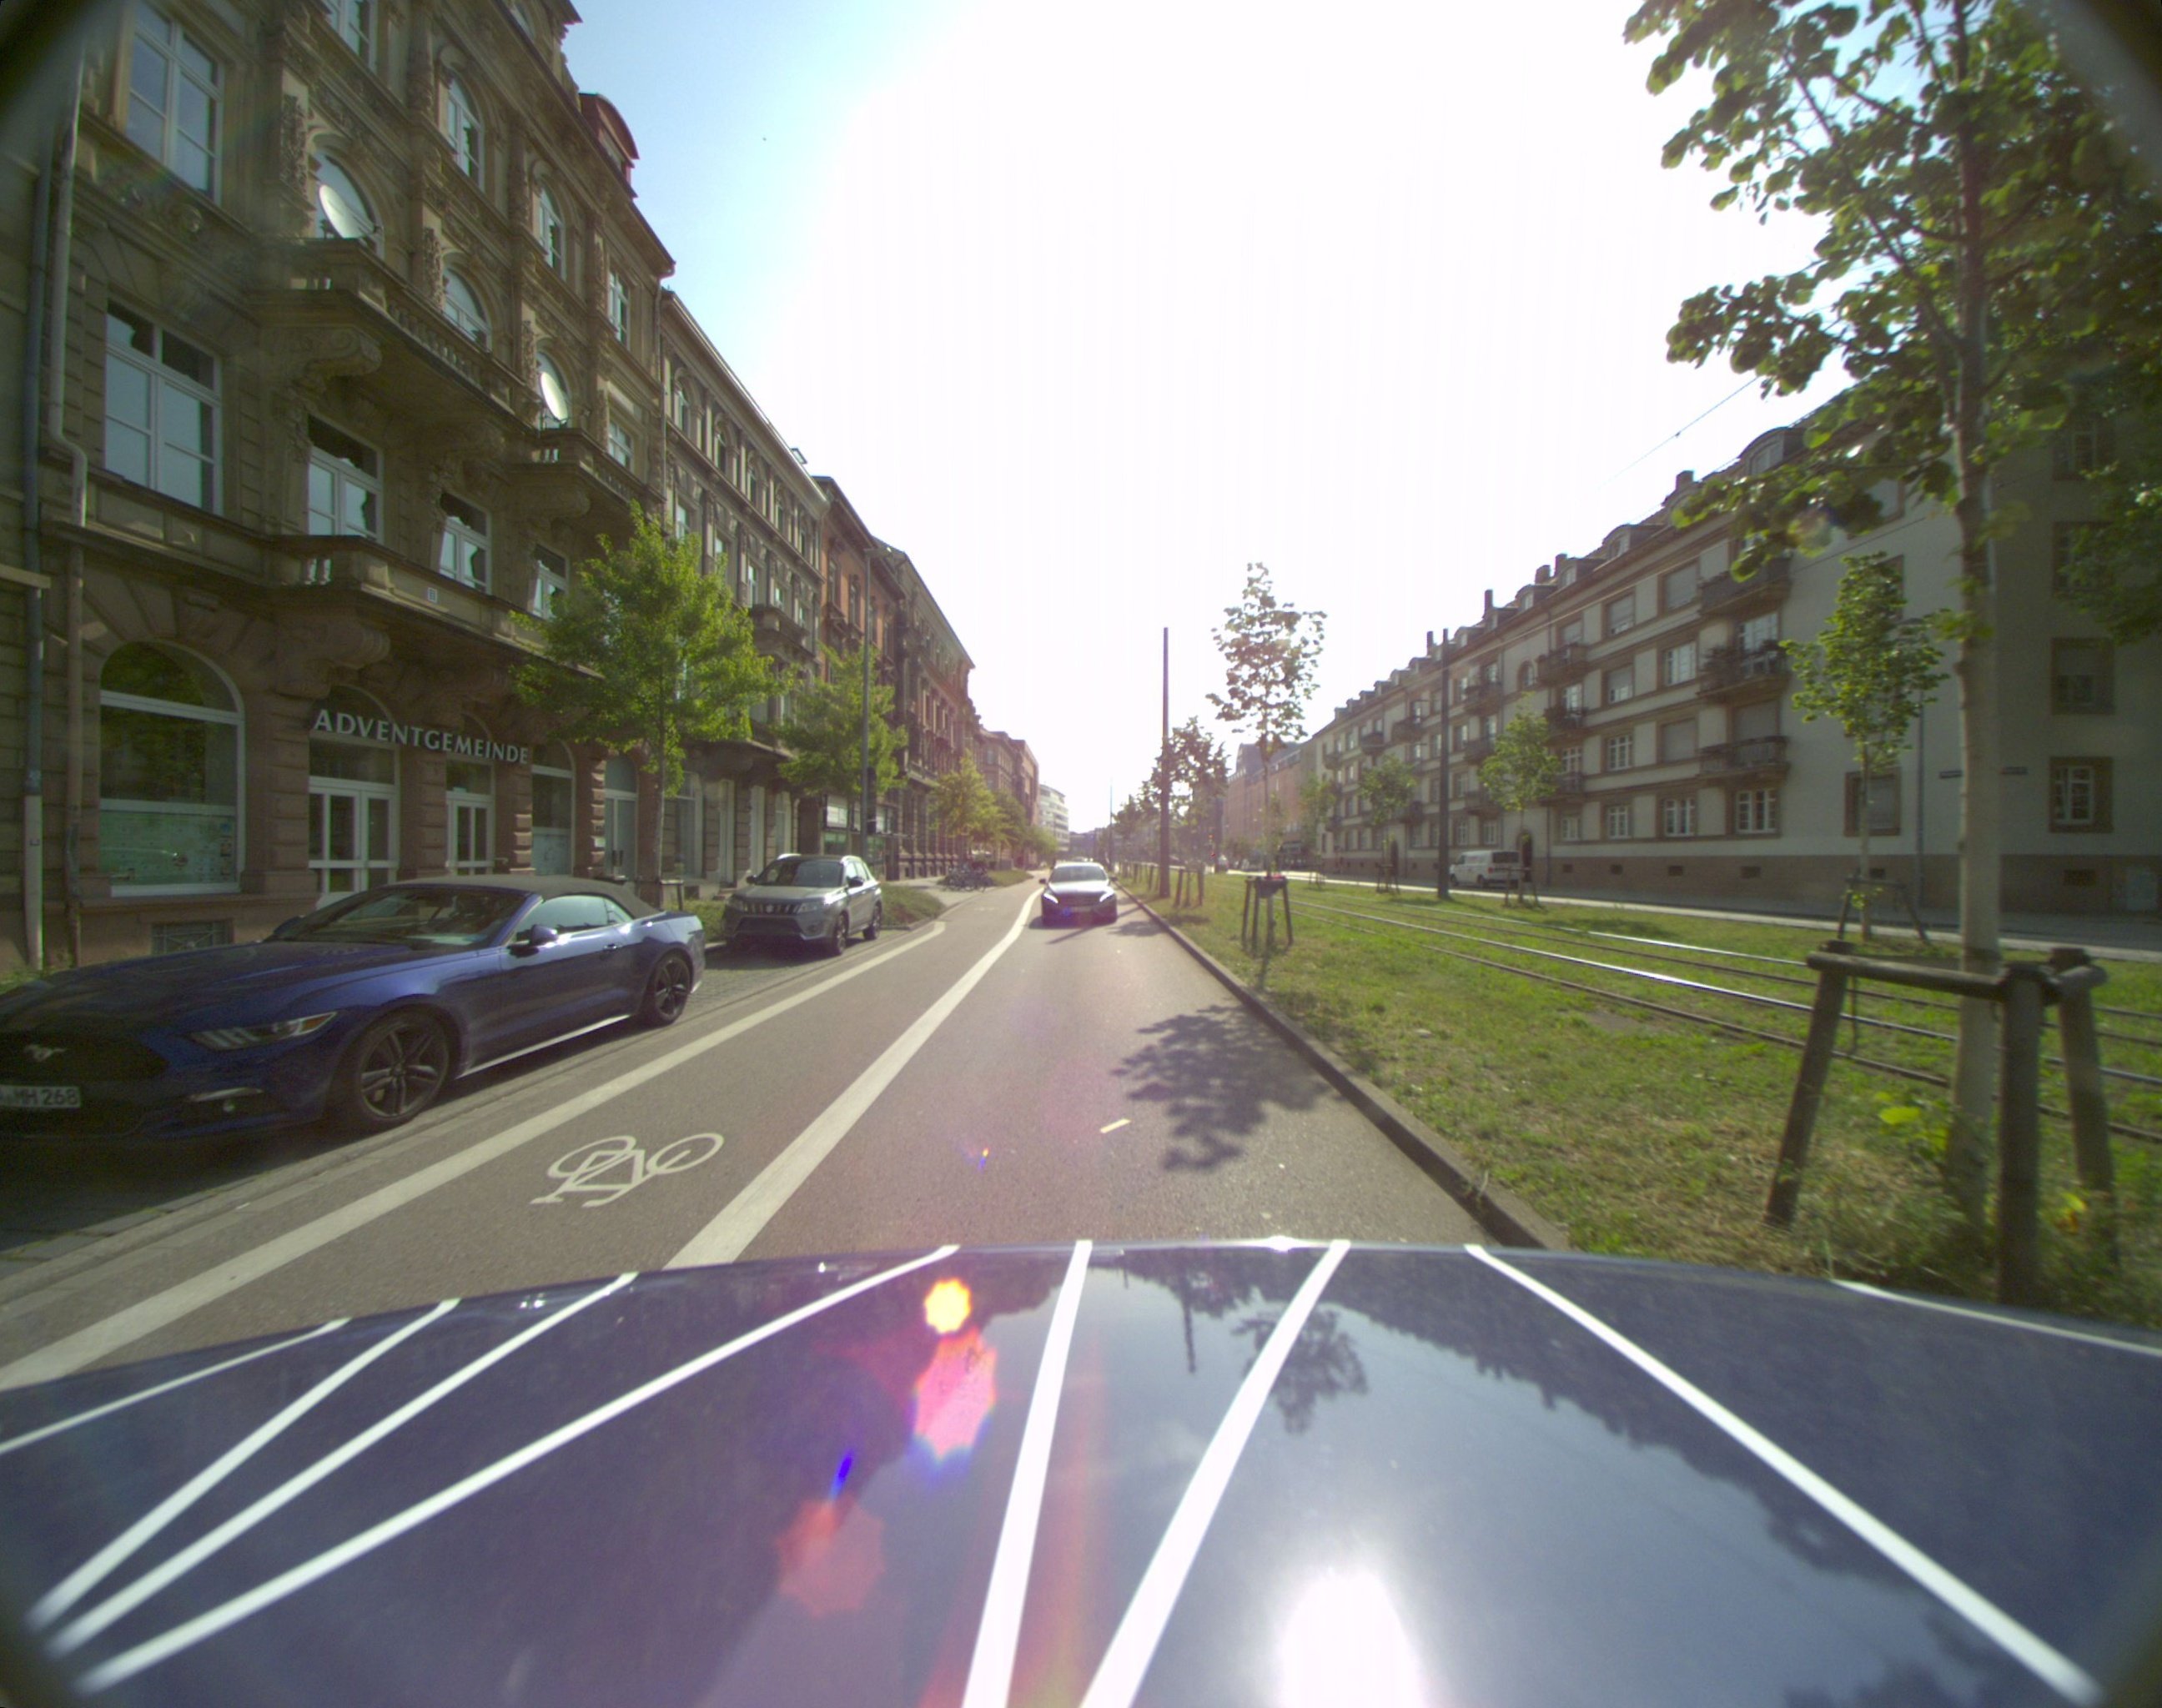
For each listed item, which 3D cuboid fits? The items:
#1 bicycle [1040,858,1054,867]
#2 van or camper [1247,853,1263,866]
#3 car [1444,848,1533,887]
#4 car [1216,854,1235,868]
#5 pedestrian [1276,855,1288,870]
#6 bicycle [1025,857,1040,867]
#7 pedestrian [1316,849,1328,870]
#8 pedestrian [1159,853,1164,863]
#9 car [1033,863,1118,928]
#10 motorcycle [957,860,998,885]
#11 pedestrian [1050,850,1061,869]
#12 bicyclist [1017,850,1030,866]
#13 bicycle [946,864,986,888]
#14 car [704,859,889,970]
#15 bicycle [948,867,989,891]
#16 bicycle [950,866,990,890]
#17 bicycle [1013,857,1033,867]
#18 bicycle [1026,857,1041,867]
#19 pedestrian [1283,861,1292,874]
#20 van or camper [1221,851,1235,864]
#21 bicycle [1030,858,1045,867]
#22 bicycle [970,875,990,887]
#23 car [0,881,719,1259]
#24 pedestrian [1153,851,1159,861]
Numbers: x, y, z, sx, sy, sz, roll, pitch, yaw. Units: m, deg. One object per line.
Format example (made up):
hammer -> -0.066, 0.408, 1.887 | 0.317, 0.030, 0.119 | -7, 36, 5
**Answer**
bicycle -> -4.501, 1.082, 99.921 | 1.761, 1.081, 0.610 | 3, 1, -9
van or camper -> 26.785, 0.894, 116.898 | 1.934, 1.956, 4.001 | 0, 0, 5
car -> 21.355, 0.663, 40.105 | 1.998, 1.907, 5.153 | -2, 0, 1
car -> 20.872, 1.021, 109.994 | 1.998, 1.884, 5.047 | 0, 0, 2
pedestrian -> 24.741, 1.018, 93.625 | 1.073, 1.857, 0.862 | 0, 1, -27
bicycle -> -5.998, 1.005, 93.855 | 1.756, 1.081, 0.583 | 2, 0, 4
pedestrian -> 24.061, 0.526, 75.956 | 0.844, 2.056, 1.157 | -1, 1, 2
pedestrian -> 14.728, 0.741, 139.113 | 0.807, 1.875, 0.555 | 0, 1, 1
car -> -0.110, 0.970, 19.525 | 1.907, 1.384, 4.236 | -1, 1, 0
motorcycle -> -5.512, 1.014, 40.517 | 2.046, 1.279, 0.703 | 2, 0, -35
pedestrian -> -2.566, 0.558, 75.810 | 0.992, 1.795, 0.864 | 1, -1, 1
bicyclist -> -5.404, 0.395, 71.336 | 0.929, 1.473, 0.586 | 2, 1, 19
bicycle -> -5.497, 1.063, 36.354 | 1.812, 1.089, 0.671 | 2, 0, -4
car -> -4.734, 0.904, 13.336 | 1.774, 1.579, 4.246 | 1, 0, -3
bicycle -> -5.133, 1.131, 34.713 | 1.789, 1.048, 0.373 | 2, 0, -1
bicycle -> -5.123, 1.094, 35.108 | 1.789, 1.048, 0.373 | 2, 0, -1
bicycle -> -5.412, 0.751, 71.321 | 1.780, 0.948, 0.507 | 2, 1, 19
bicycle -> -5.909, 0.995, 94.455 | 1.756, 1.081, 0.583 | 2, 0, 4
pedestrian -> 23.689, 1.542, 87.146 | 0.809, 1.574, 0.679 | 0, 1, -22
van or camper -> 32.085, 0.744, 166.264 | 1.998, 2.786, 5.353 | 1, 0, 1
bicycle -> -5.520, 1.093, 97.121 | 1.763, 1.081, 0.671 | 3, 0, -22
bicycle -> -5.233, 1.388, 39.378 | 0.960, 0.606, 0.360 | 2, 1, 2
car -> -4.730, 0.998, 5.585 | 1.740, 1.388, 4.715 | 1, 0, 2
pedestrian -> 14.600, 0.388, 148.523 | 0.787, 1.736, 0.833 | 1, 1, -36
